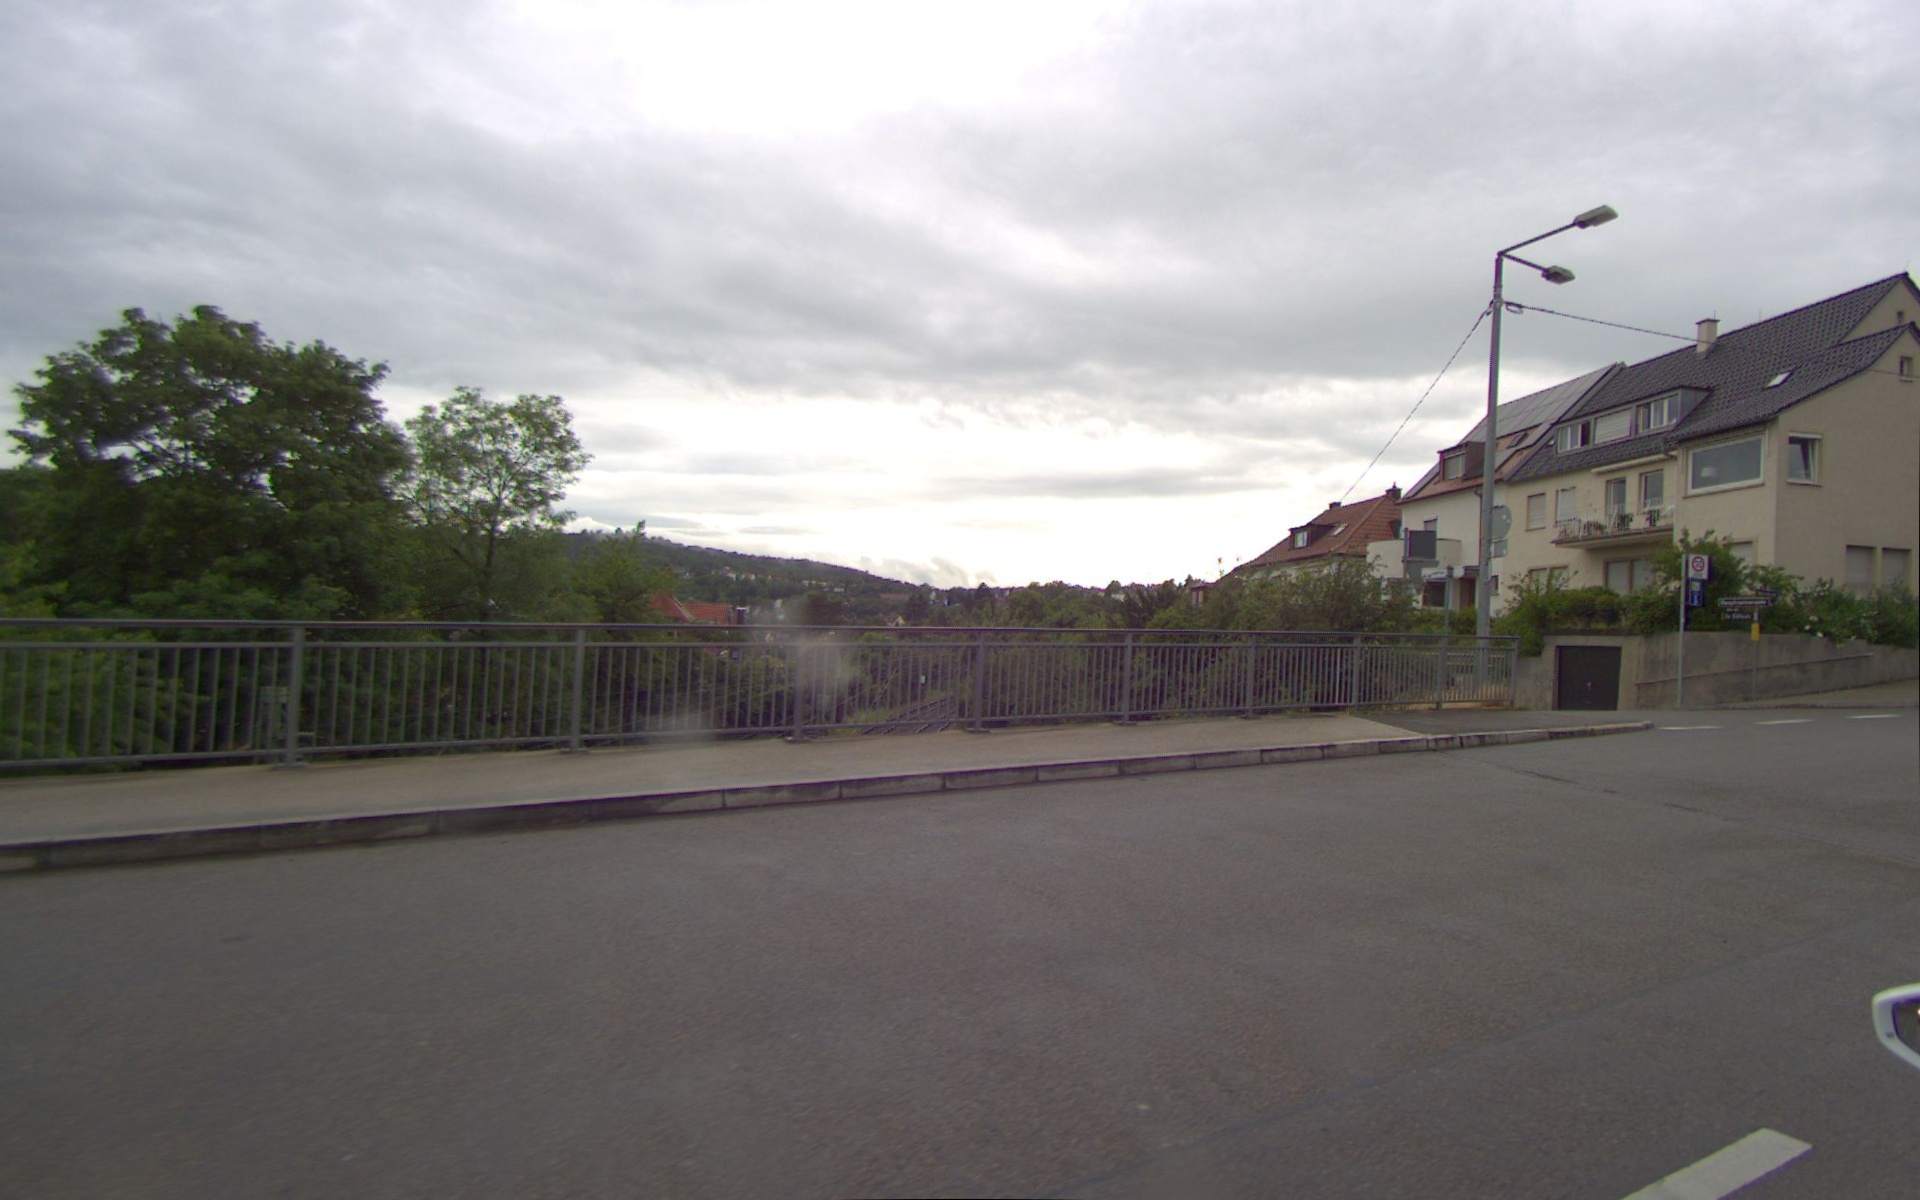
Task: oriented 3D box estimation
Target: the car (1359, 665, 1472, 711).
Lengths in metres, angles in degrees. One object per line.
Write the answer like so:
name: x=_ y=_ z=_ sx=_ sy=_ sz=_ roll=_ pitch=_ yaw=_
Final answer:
car: x=15.013 y=2.976 z=33.354 sx=1.622 sy=1.286 sz=4.000 roll=4 pitch=-7 yaw=-6
